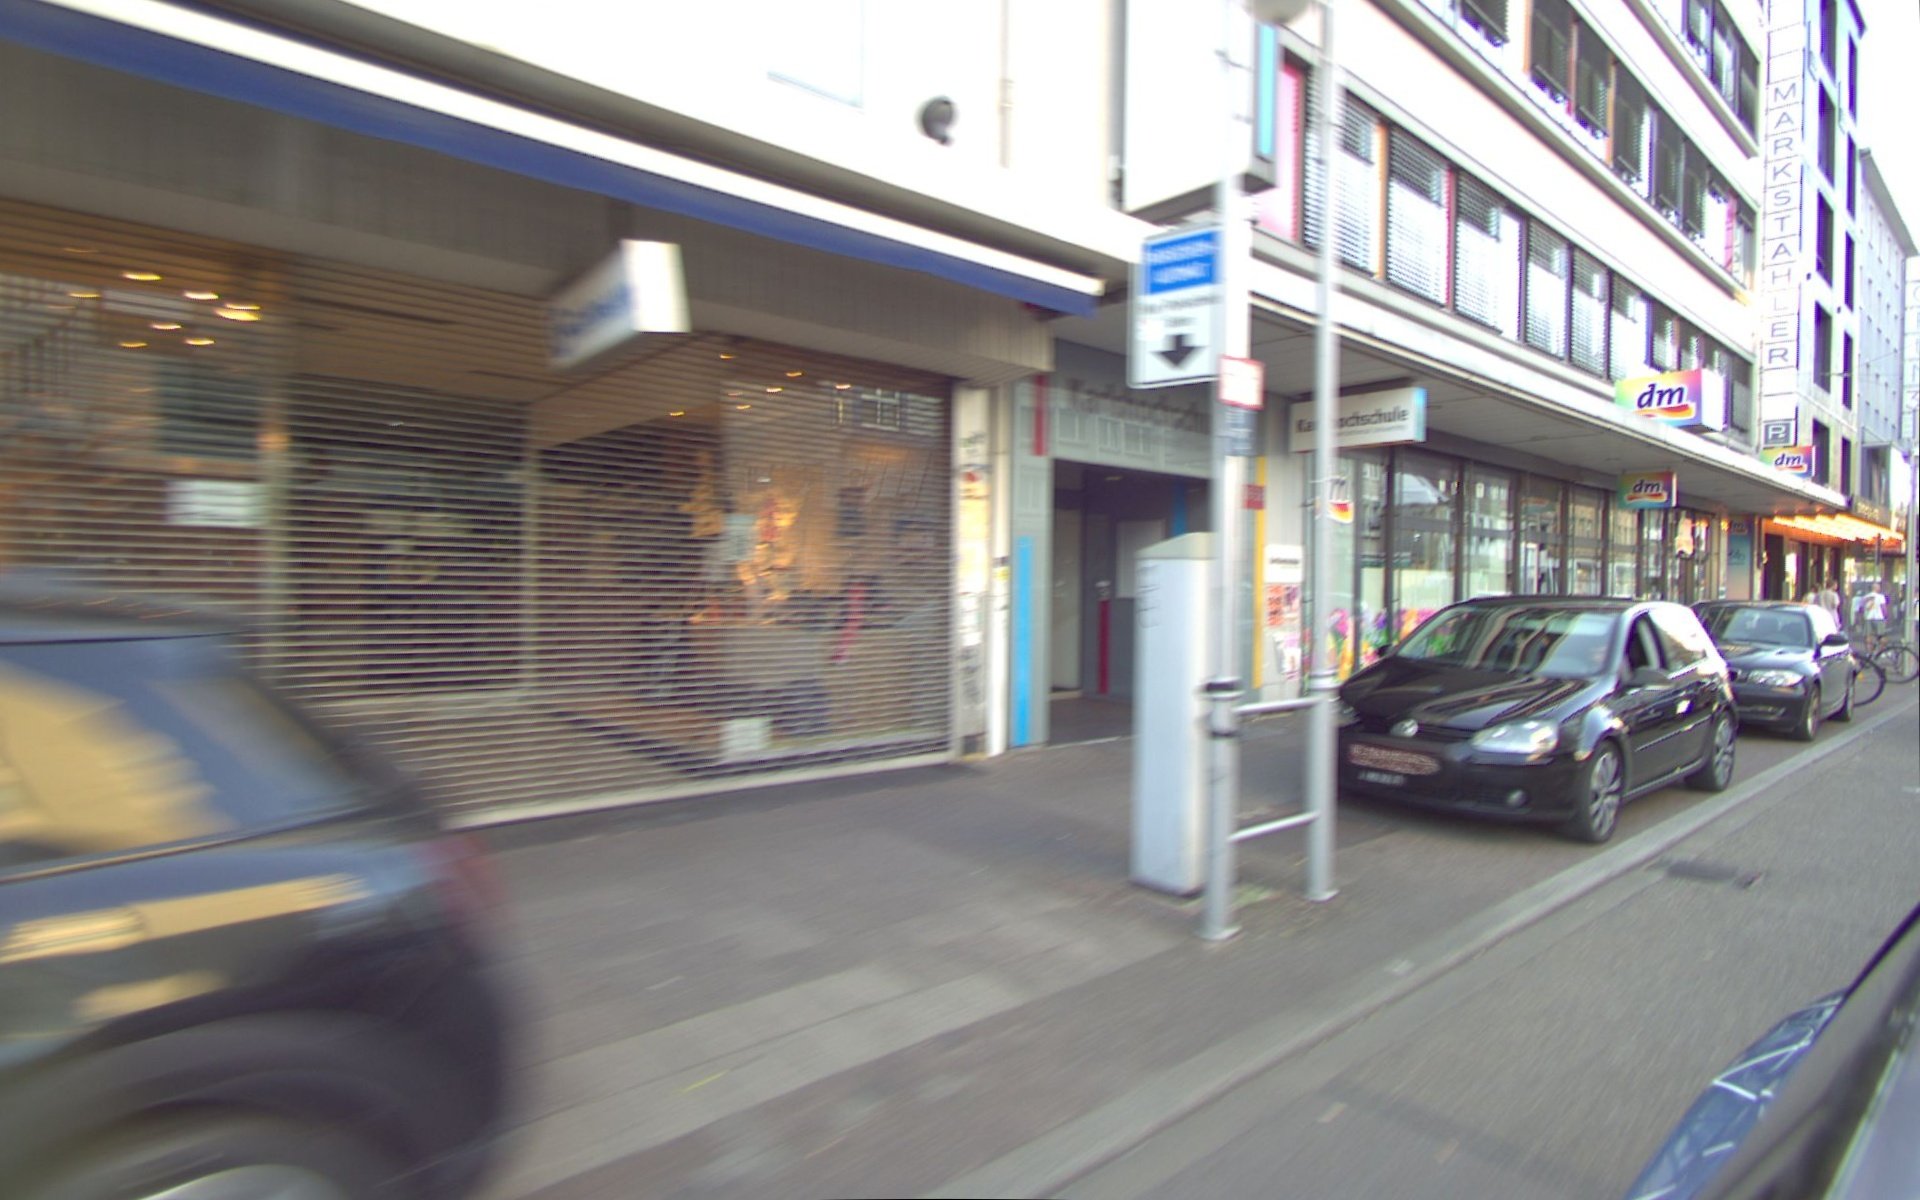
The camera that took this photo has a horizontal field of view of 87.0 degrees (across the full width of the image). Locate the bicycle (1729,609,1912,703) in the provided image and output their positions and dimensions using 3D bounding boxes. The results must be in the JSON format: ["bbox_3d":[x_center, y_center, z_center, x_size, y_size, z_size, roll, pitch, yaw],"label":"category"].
[{"bbox_3d":[12.108,0.747,14.286,0.665,1.152,1.888,0,2,-43],"label":"bicycle"}]

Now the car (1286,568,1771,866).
[{"bbox_3d":[4.275,0.587,7.331,4.094,1.530,1.724,0,3,-41],"label":"car"}]

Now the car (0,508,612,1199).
[{"bbox_3d":[-2.702,0.607,1.237,3.964,1.530,1.689,0,3,-41],"label":"car"}]

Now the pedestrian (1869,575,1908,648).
[{"bbox_3d":[22.804,0.272,24.857,0.594,1.775,0.610,0,1,-41],"label":"pedestrian"}]

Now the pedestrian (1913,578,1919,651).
[{"bbox_3d":[23.277,0.354,24.215,0.635,1.749,0.605,0,1,-41],"label":"pedestrian"}]

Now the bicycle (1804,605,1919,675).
[{"bbox_3d":[16.344,0.702,18.041,0.665,1.090,1.888,0,3,-43],"label":"bicycle"}]

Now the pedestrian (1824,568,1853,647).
[{"bbox_3d":[21.857,0.177,25.184,0.414,1.922,0.456,0,1,-41],"label":"pedestrian"}]

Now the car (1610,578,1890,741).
[{"bbox_3d":[9.352,0.553,11.857,4.183,1.530,1.748,0,3,-41],"label":"car"}]

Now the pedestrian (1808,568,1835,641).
[{"bbox_3d":[22.852,0.114,26.850,0.414,1.922,0.452,0,1,-41],"label":"pedestrian"}]
